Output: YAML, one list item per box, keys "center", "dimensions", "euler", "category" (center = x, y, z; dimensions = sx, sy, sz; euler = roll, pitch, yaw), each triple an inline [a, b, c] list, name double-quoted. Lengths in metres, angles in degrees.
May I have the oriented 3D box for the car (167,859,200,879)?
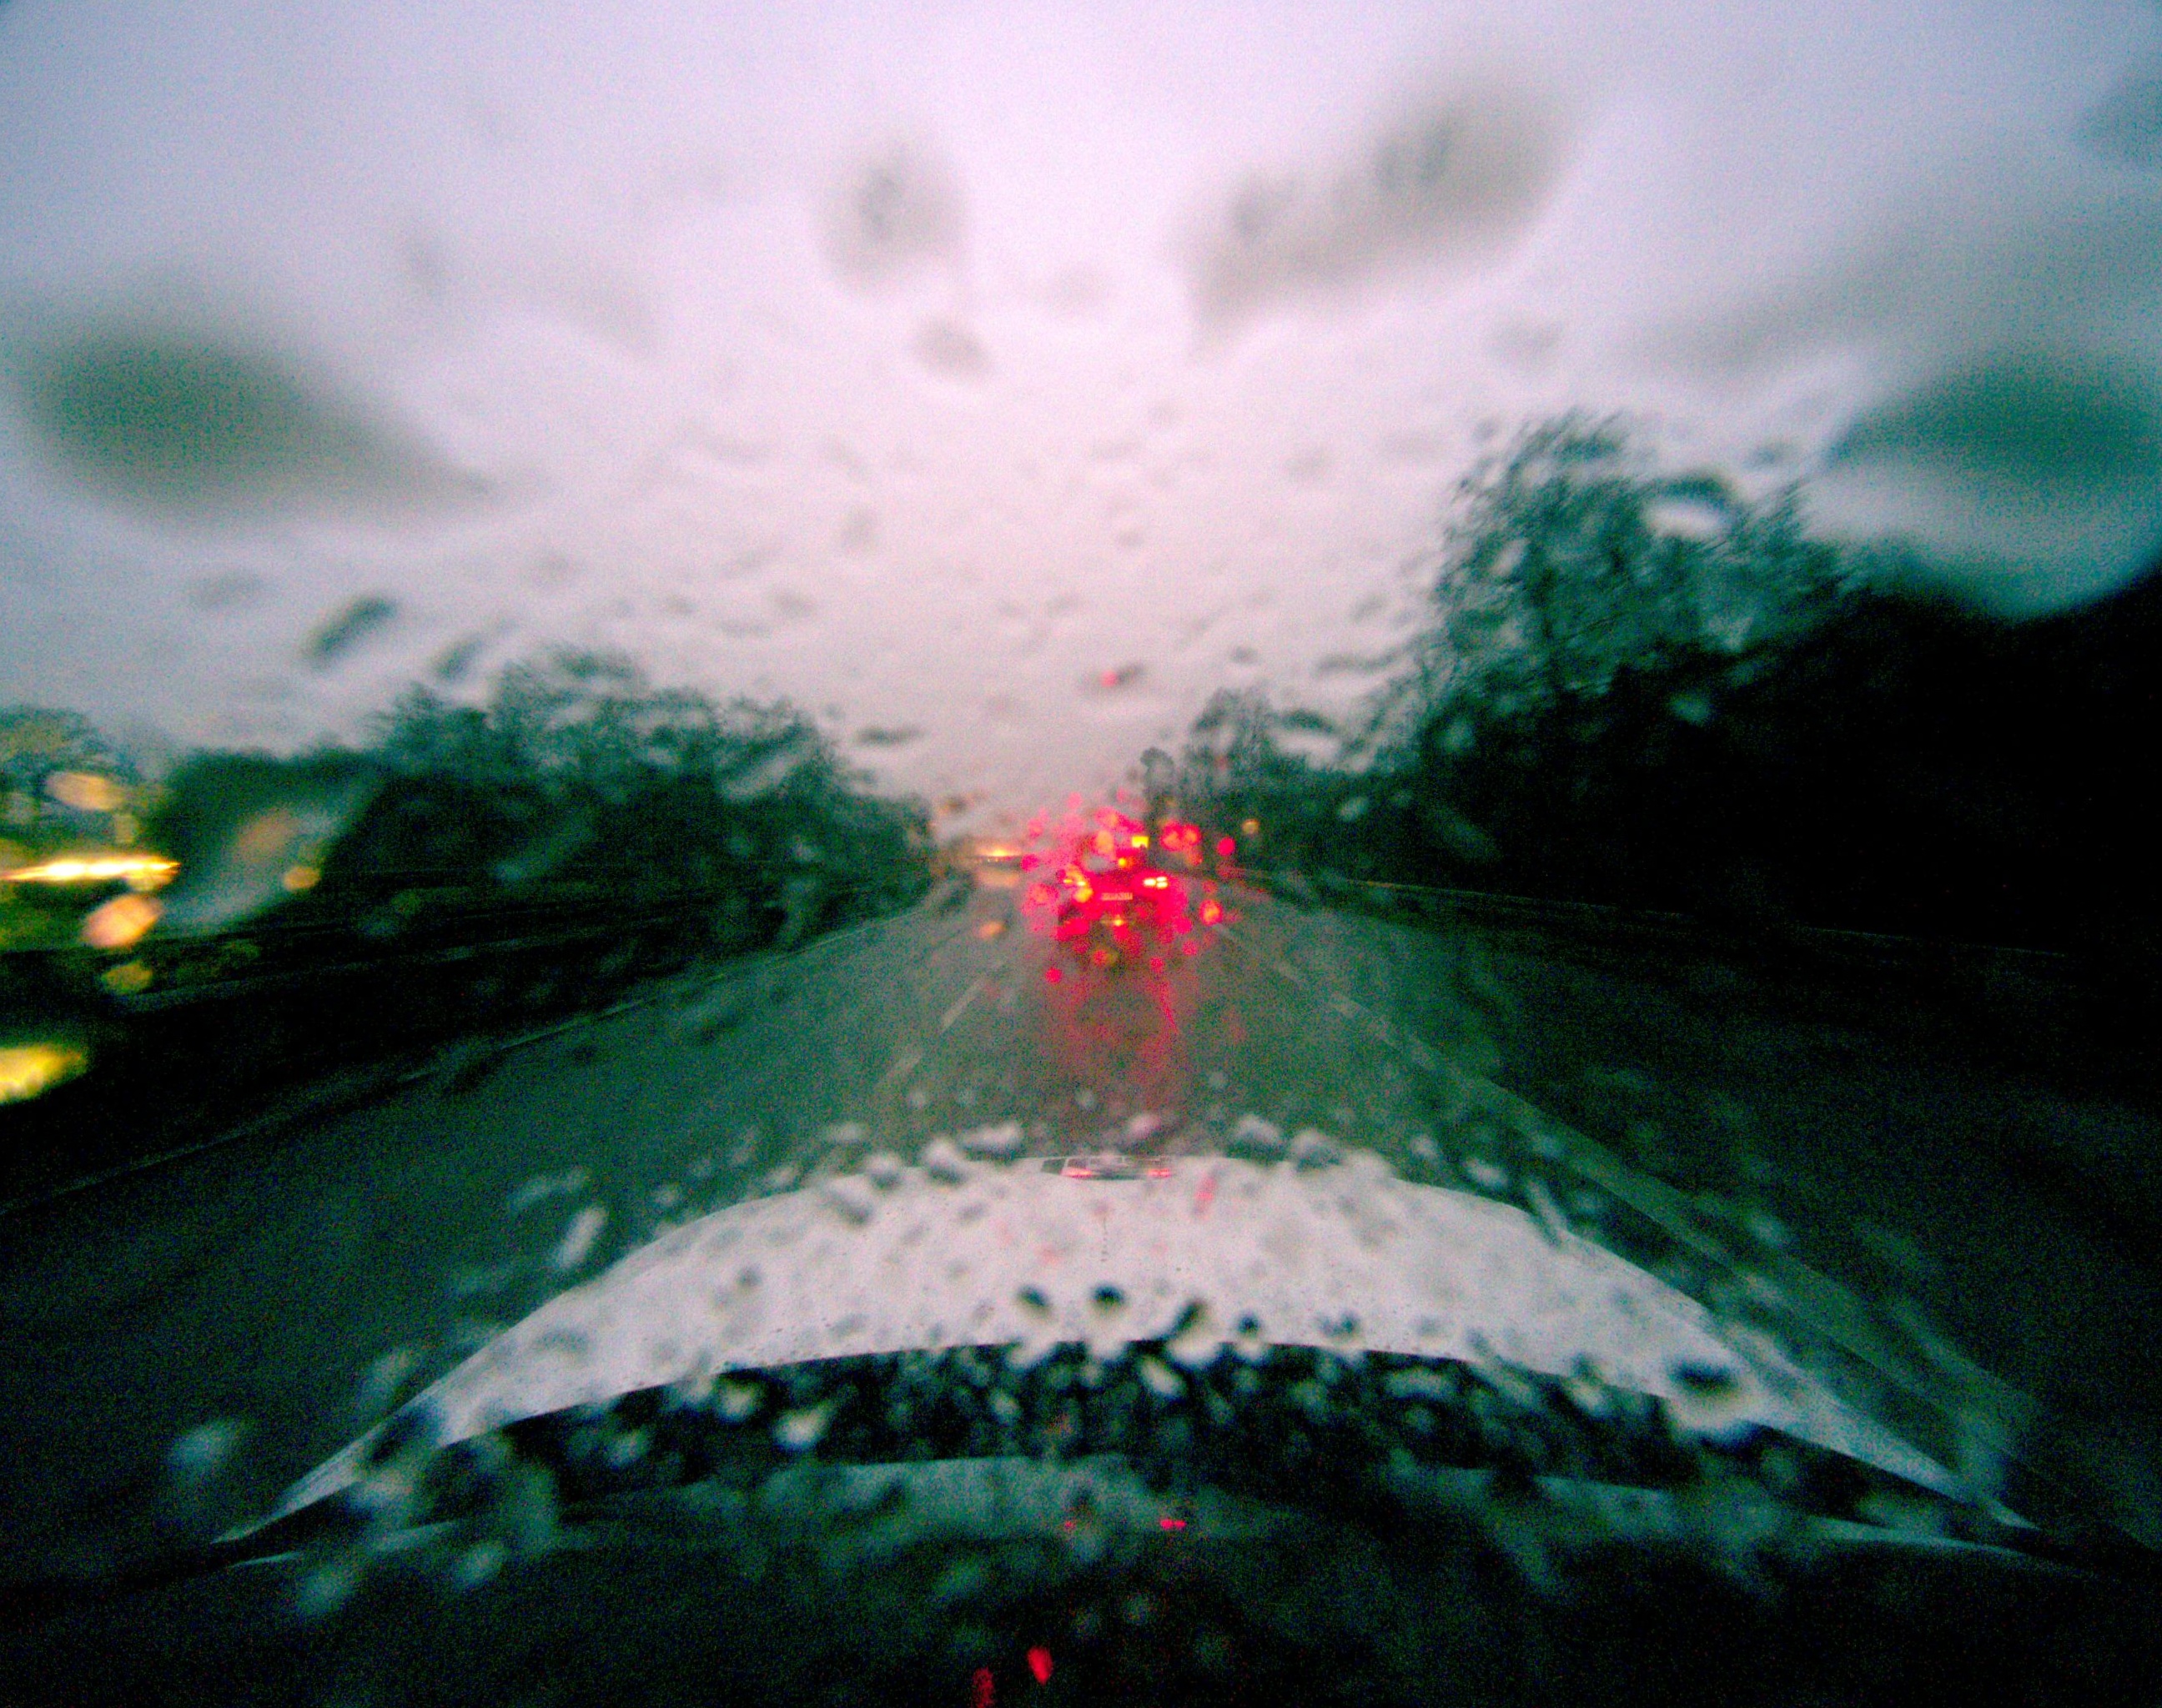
- center: [-84.074, 1.424, 76.302]
  dimensions: [1.750, 1.783, 3.816]
  euler: [-2, 0, -44]
  category: "car"

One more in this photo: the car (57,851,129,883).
- center: [-56.603, 0.732, 46.733]
  dimensions: [2.011, 1.711, 3.952]
  euler: [0, 0, -42]
  category: "car"

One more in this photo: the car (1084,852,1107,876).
- center: [1.245, 0.814, 70.593]
  dimensions: [1.987, 2.013, 4.000]
  euler: [-1, 0, 0]
  category: "car"

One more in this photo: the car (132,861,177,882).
- center: [-68.712, 1.258, 60.434]
  dimensions: [1.749, 1.481, 3.816]
  euler: [-2, 0, -42]
  category: "car"

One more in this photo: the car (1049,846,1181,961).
- center: [0.546, 0.749, 14.241]
  dimensions: [1.985, 1.715, 3.830]
  euler: [-1, 0, 1]
  category: "car"
